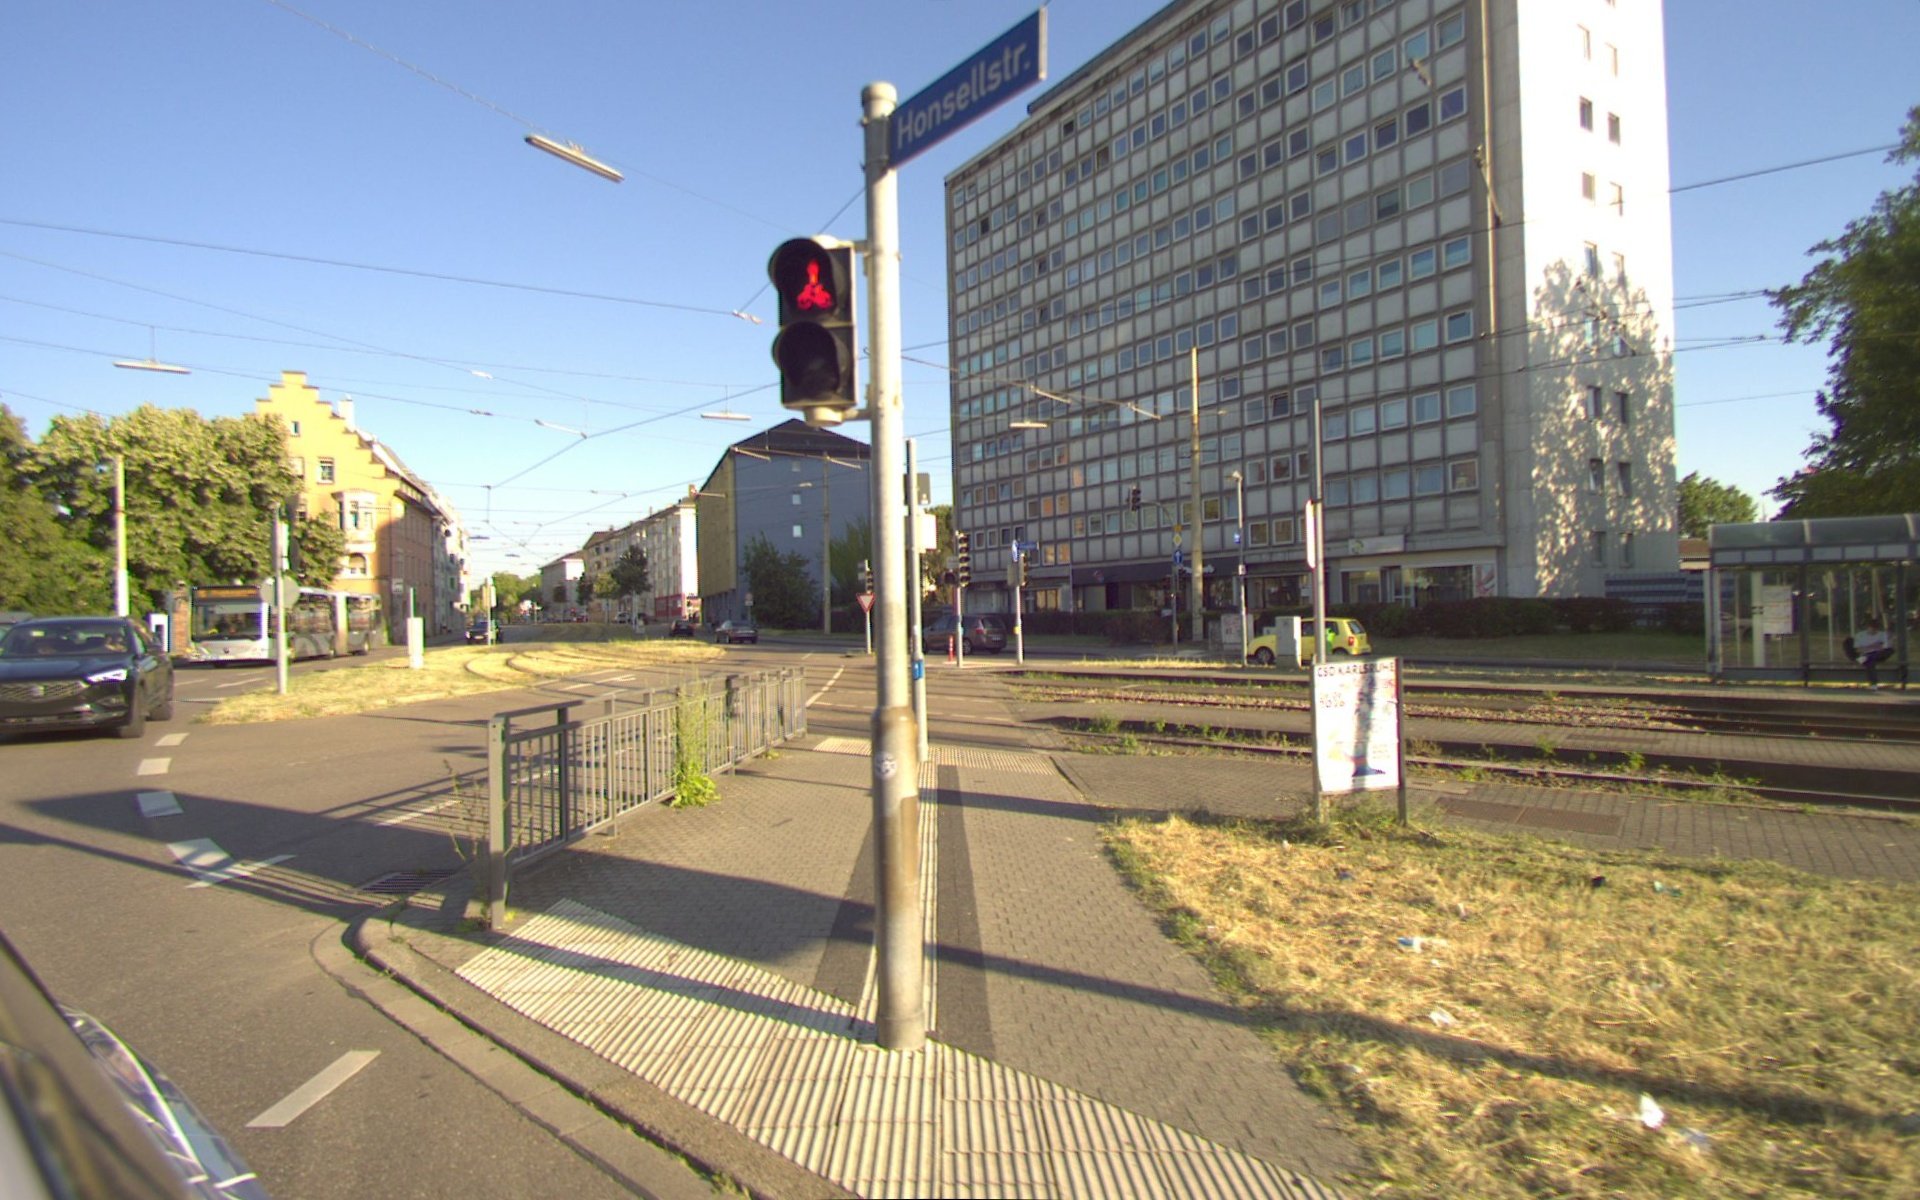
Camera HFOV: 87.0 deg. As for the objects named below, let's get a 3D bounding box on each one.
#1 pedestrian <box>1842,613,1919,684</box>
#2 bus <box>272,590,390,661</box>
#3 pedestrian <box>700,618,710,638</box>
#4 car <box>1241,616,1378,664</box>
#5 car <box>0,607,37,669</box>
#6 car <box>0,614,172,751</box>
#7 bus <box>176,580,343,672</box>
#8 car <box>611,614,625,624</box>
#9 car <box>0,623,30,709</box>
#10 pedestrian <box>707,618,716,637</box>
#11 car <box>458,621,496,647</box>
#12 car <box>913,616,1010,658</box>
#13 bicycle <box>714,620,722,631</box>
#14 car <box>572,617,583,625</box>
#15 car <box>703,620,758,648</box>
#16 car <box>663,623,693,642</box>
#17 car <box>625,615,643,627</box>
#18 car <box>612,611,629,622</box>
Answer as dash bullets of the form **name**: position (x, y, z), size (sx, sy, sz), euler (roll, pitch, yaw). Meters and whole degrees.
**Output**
- **pedestrian**: position (16.103, 0.830, 17.723), size (0.922, 1.197, 0.835), euler (-1, -2, 39)
- **bus**: position (-30.845, 1.265, 50.169), size (2.667, 3.100, 10.633), euler (-1, -1, -19)
- **pedestrian**: position (-23.928, 2.608, 94.954), size (0.585, 1.786, 0.888), euler (-6, 1, -21)
- **car**: position (10.534, 1.199, 30.585), size (3.590, 1.350, 1.529), euler (-2, -1, 40)
- **car**: position (-44.237, 1.719, 46.267), size (6.206, 2.686, 2.017), euler (-2, -1, 38)
- **car**: position (-12.407, 1.041, 14.126), size (1.759, 1.636, 4.228), euler (0, -1, -32)
- **bus**: position (-27.284, 1.007, 40.069), size (2.686, 3.100, 10.633), euler (-1, -1, -19)
- **car**: position (-51.781, 2.811, 153.303), size (1.673, 1.471, 4.330), euler (1, -1, -23)
- **car**: position (-18.446, 1.222, 18.083), size (1.742, 1.599, 4.080), euler (0, -2, -29)
- **pedestrian**: position (-23.589, 2.600, 95.942), size (0.608, 1.707, 0.708), euler (-6, 1, -21)
- **car**: position (-34.067, 2.394, 71.467), size (1.966, 1.785, 4.012), euler (0, -1, -18)
- **car**: position (0.010, 1.465, 41.353), size (1.561, 1.607, 4.157), euler (-1, 0, -43)
- **bicycle**: position (-23.522, 2.466, 98.364), size (0.421, 0.932, 1.918), euler (-5, 1, -19)
- **car**: position (-74.709, 4.121, 197.706), size (1.768, 1.480, 4.812), euler (1, -1, -24)
- **car**: position (-14.070, 2.064, 61.921), size (1.630, 1.608, 4.597), euler (-1, -1, -36)
- **car**: position (-24.029, 2.742, 86.099), size (1.751, 1.493, 4.414), euler (0, -1, -26)
- **car**: position (-43.848, 2.843, 136.097), size (1.891, 1.674, 4.724), euler (0, -2, -22)
- **car**: position (-56.537, 2.789, 168.535), size (1.840, 1.843, 4.435), euler (0, -1, -28)
